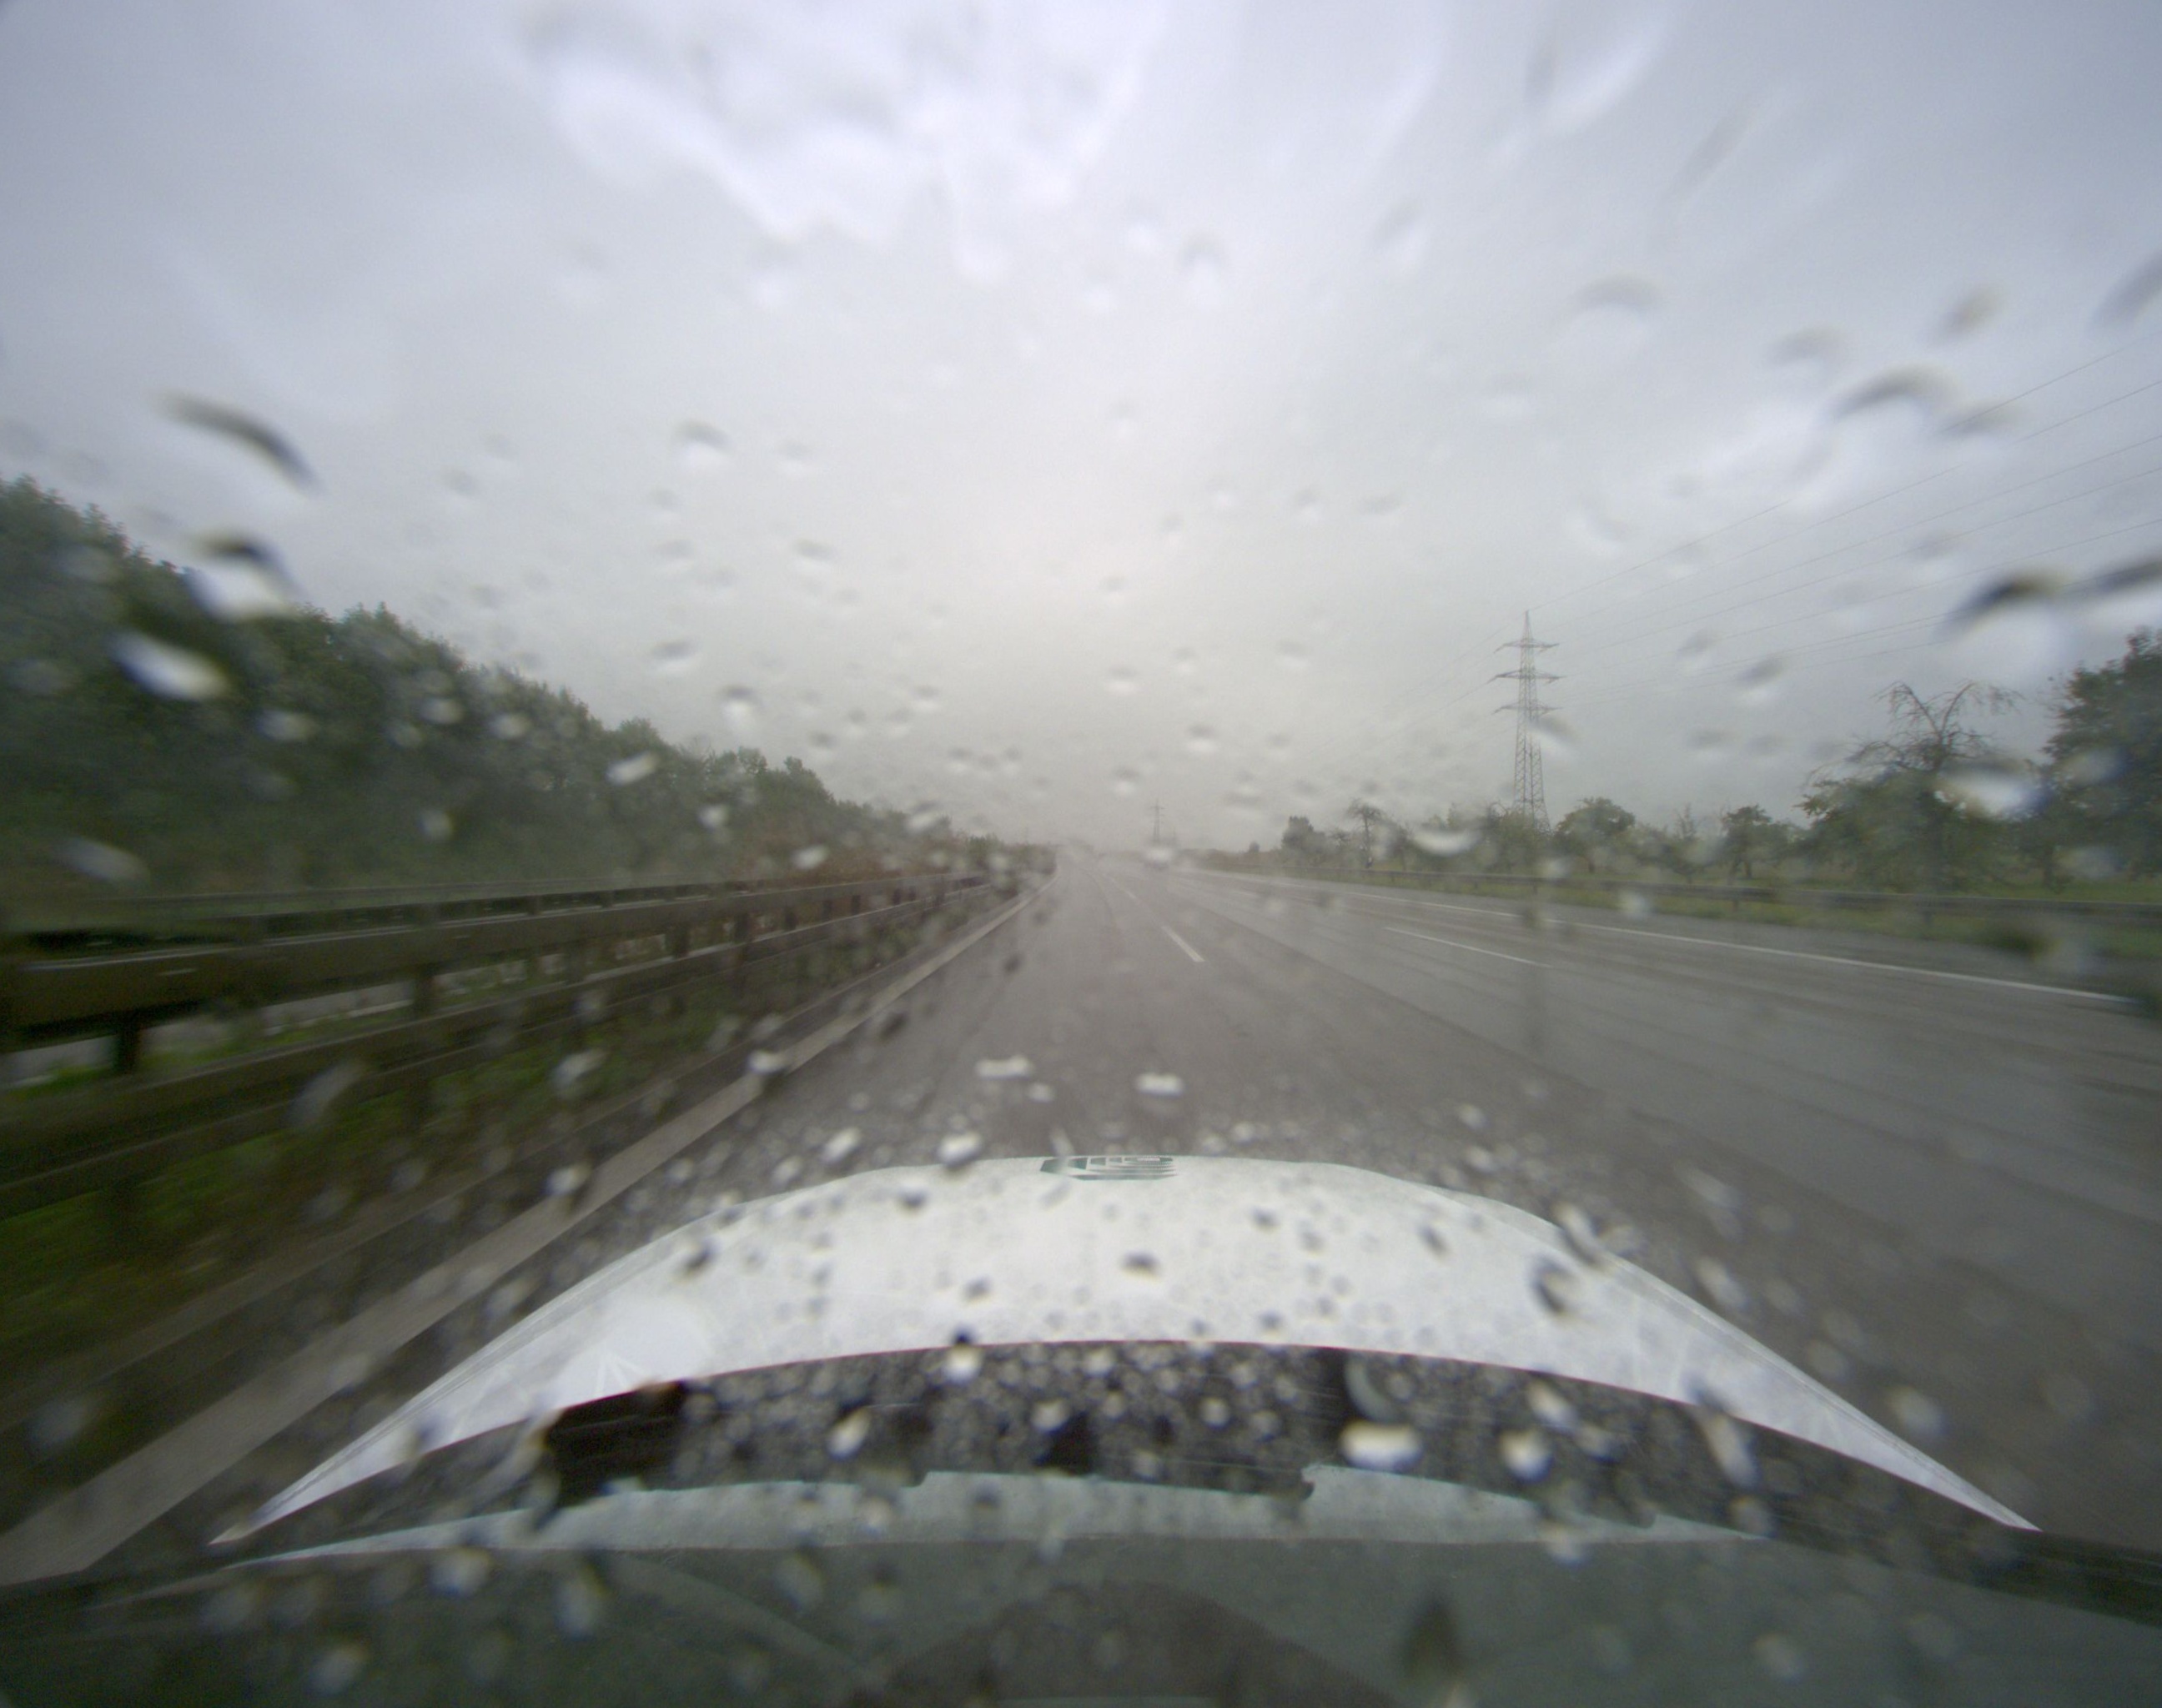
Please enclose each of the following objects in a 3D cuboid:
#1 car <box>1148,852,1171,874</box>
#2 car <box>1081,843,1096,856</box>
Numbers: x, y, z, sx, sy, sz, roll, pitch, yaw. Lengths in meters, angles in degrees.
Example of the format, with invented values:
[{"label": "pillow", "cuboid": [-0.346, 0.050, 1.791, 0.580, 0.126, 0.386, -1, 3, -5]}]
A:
[{"label": "car", "cuboid": [7.910, 0.846, 82.030, 1.802, 2.158, 3.997, 0, 0, -2]}, {"label": "car", "cuboid": [1.949, -1.107, 213.840, 3.194, 3.193, 7.247, 0, 0, -4]}]
